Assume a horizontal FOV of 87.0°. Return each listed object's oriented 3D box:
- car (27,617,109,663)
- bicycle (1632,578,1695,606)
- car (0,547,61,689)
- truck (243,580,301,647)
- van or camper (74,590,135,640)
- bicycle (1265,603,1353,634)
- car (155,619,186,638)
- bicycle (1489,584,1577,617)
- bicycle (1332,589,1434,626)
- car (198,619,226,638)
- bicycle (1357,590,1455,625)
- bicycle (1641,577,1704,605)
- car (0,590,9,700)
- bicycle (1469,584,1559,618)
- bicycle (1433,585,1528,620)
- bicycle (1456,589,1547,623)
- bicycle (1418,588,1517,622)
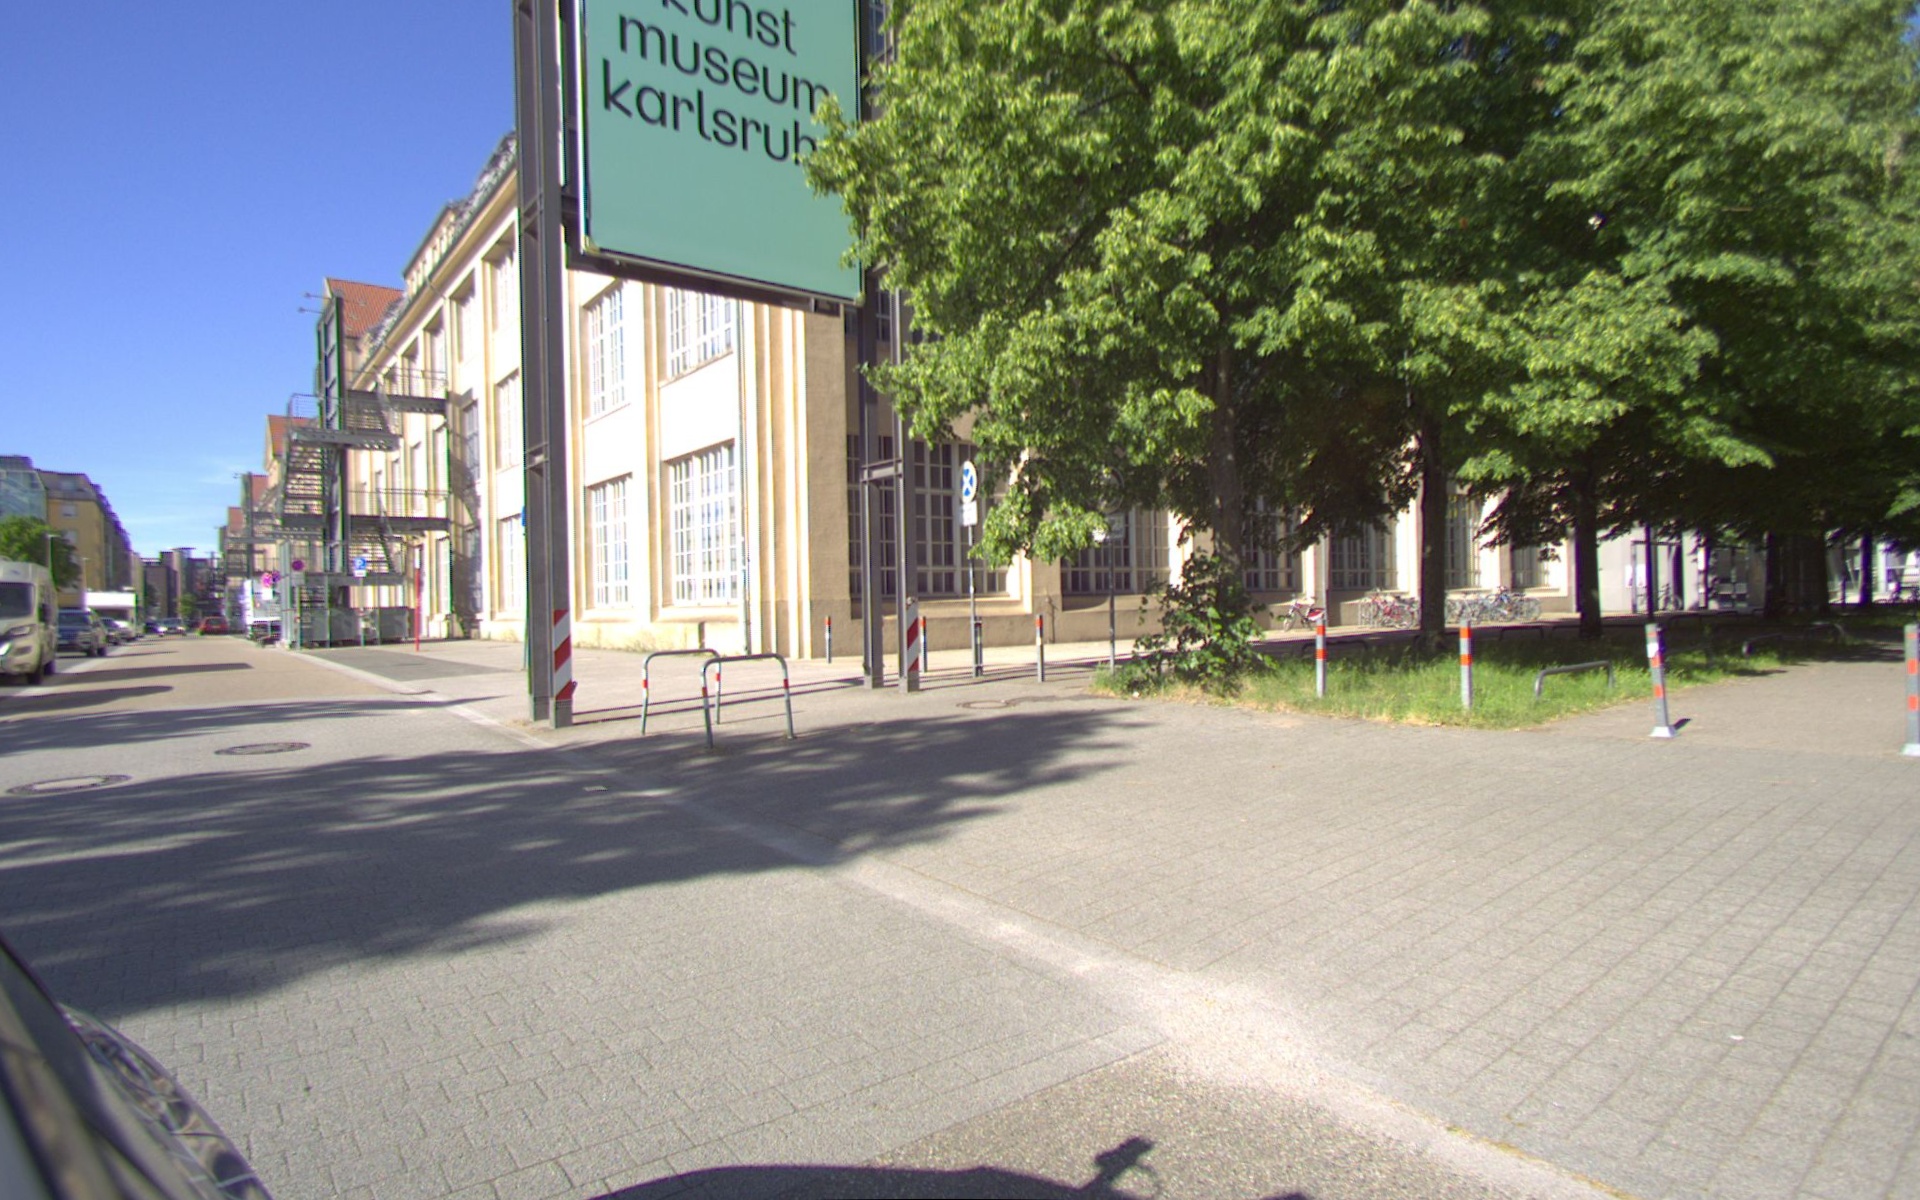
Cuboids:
[{"bbox_3d":[-31.232,1.368,35.530,1.821,1.436,4.234,-2,0,-37],"label":"car"},{"bbox_3d":[28.971,-0.314,41.707,0.498,1.074,2.069,-2,0,-35],"label":"bicycle"},{"bbox_3d":[-20.112,0.407,20.808,2.130,2.616,6.295,-1,-1,-39],"label":"car"},{"bbox_3d":[-37.944,0.748,55.731,2.460,3.457,7.145,-1,0,-35],"label":"truck"},{"bbox_3d":[-51.689,0.866,61.263,2.681,2.878,5.144,-1,0,-39],"label":"van or camper"},{"bbox_3d":[10.337,0.534,29.894,2.835,0.798,0.783,-2,0,-30],"label":"bicycle"},{"bbox_3d":[-61.775,2.233,79.248,1.821,1.436,4.234,-1,-1,-37],"label":"car"},{"bbox_3d":[21.233,0.028,37.588,0.708,1.159,2.744,-2,0,-42],"label":"bicycle"},{"bbox_3d":[12.795,0.251,30.686,0.708,1.071,2.813,-2,0,-42],"label":"bicycle"},{"bbox_3d":[-60.250,2.283,81.592,1.732,1.459,4.010,-2,0,-36],"label":"car"},{"bbox_3d":[14.014,0.251,31.903,0.707,1.071,2.816,-2,0,-37],"label":"bicycle"},{"bbox_3d":[29.525,-0.370,41.971,0.498,1.074,2.069,-2,0,-35],"label":"bicycle"},{"bbox_3d":[-14.988,0.682,14.136,1.967,1.708,4.113,-1,-1,-36],"label":"car"},{"bbox_3d":[19.865,0.042,36.373,0.708,1.159,2.744,-2,0,-42],"label":"bicycle"},{"bbox_3d":[17.981,0.103,35.027,0.708,1.159,2.813,-2,0,-42],"label":"bicycle"},{"bbox_3d":[19.208,0.221,35.961,0.708,1.159,2.744,-2,0,-42],"label":"bicycle"},{"bbox_3d":[16.627,0.170,33.244,0.708,1.071,2.813,-2,0,-42],"label":"bicycle"}]
